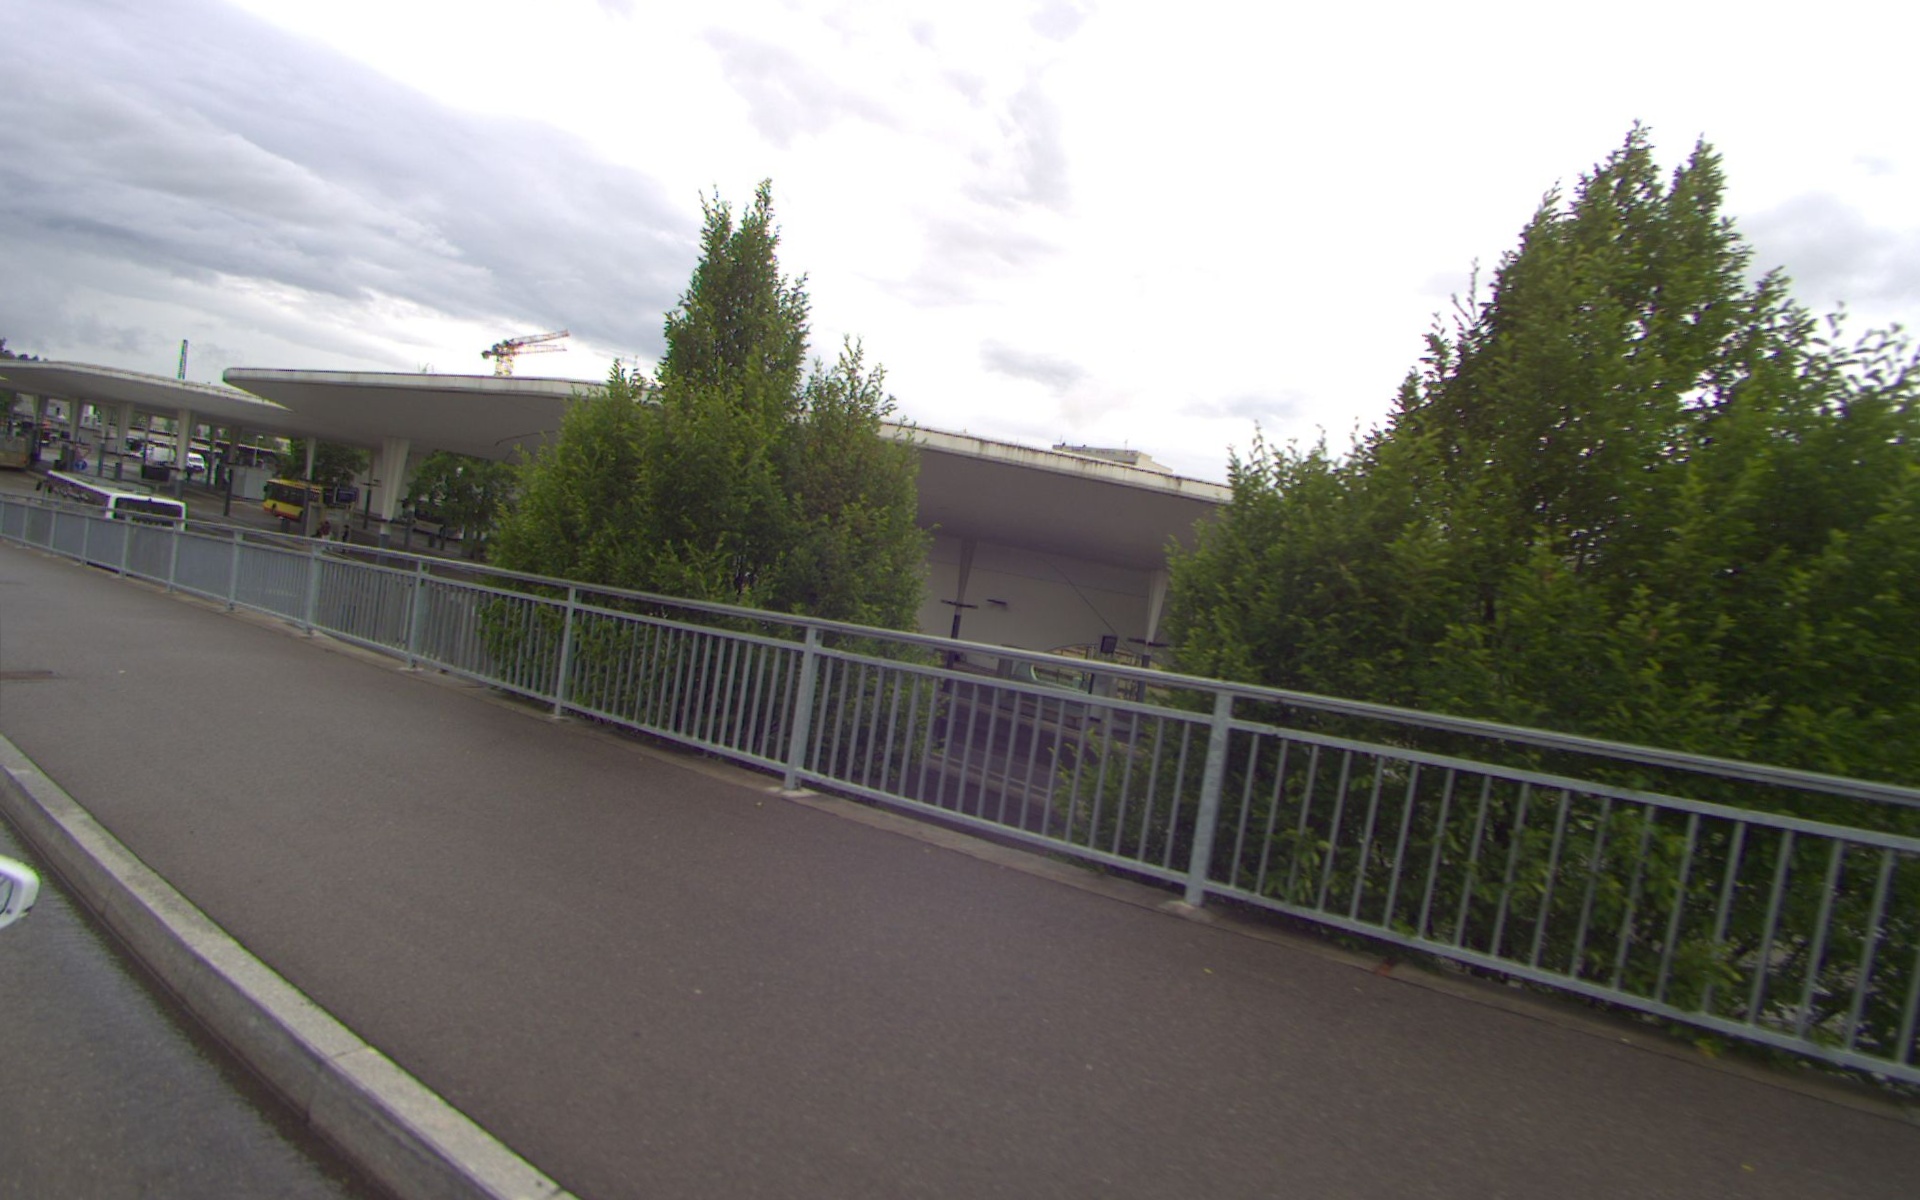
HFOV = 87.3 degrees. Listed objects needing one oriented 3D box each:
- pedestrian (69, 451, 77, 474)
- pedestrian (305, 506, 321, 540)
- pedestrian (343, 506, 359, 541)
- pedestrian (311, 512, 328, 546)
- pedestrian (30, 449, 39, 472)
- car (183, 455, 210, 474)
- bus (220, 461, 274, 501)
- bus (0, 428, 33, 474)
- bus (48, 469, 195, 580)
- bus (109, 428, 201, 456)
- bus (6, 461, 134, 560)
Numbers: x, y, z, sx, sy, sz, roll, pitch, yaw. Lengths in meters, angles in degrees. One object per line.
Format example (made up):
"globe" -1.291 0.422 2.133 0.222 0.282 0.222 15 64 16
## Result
"pedestrian" -81.866 -12.657 92.832 0.476 2.039 0.423 6 1 40
"pedestrian" -40.920 -4.856 63.629 0.571 2.040 0.543 8 3 39
"pedestrian" -36.700 -4.621 60.607 0.553 2.040 0.482 8 2 32
"pedestrian" -39.939 -4.449 62.724 0.571 2.040 0.543 8 3 39
"pedestrian" -84.790 -12.768 92.195 0.476 2.040 0.423 8 3 40
"car" -105.842 -18.762 139.425 3.939 2.040 1.992 10 3 38
"bus" -70.853 -11.824 99.932 6.891 3.252 2.596 10 3 40
"bus" -86.939 -13.599 91.338 10.368 3.646 3.171 8 1 44
"bus" -34.517 -3.137 41.329 6.957 3.276 2.649 12 2 35
"bus" -116.081 -22.758 145.246 2.136 2.039 10.168 8 1 35
"bus" -40.183 -4.082 45.357 6.957 3.279 2.645 12 4 35
